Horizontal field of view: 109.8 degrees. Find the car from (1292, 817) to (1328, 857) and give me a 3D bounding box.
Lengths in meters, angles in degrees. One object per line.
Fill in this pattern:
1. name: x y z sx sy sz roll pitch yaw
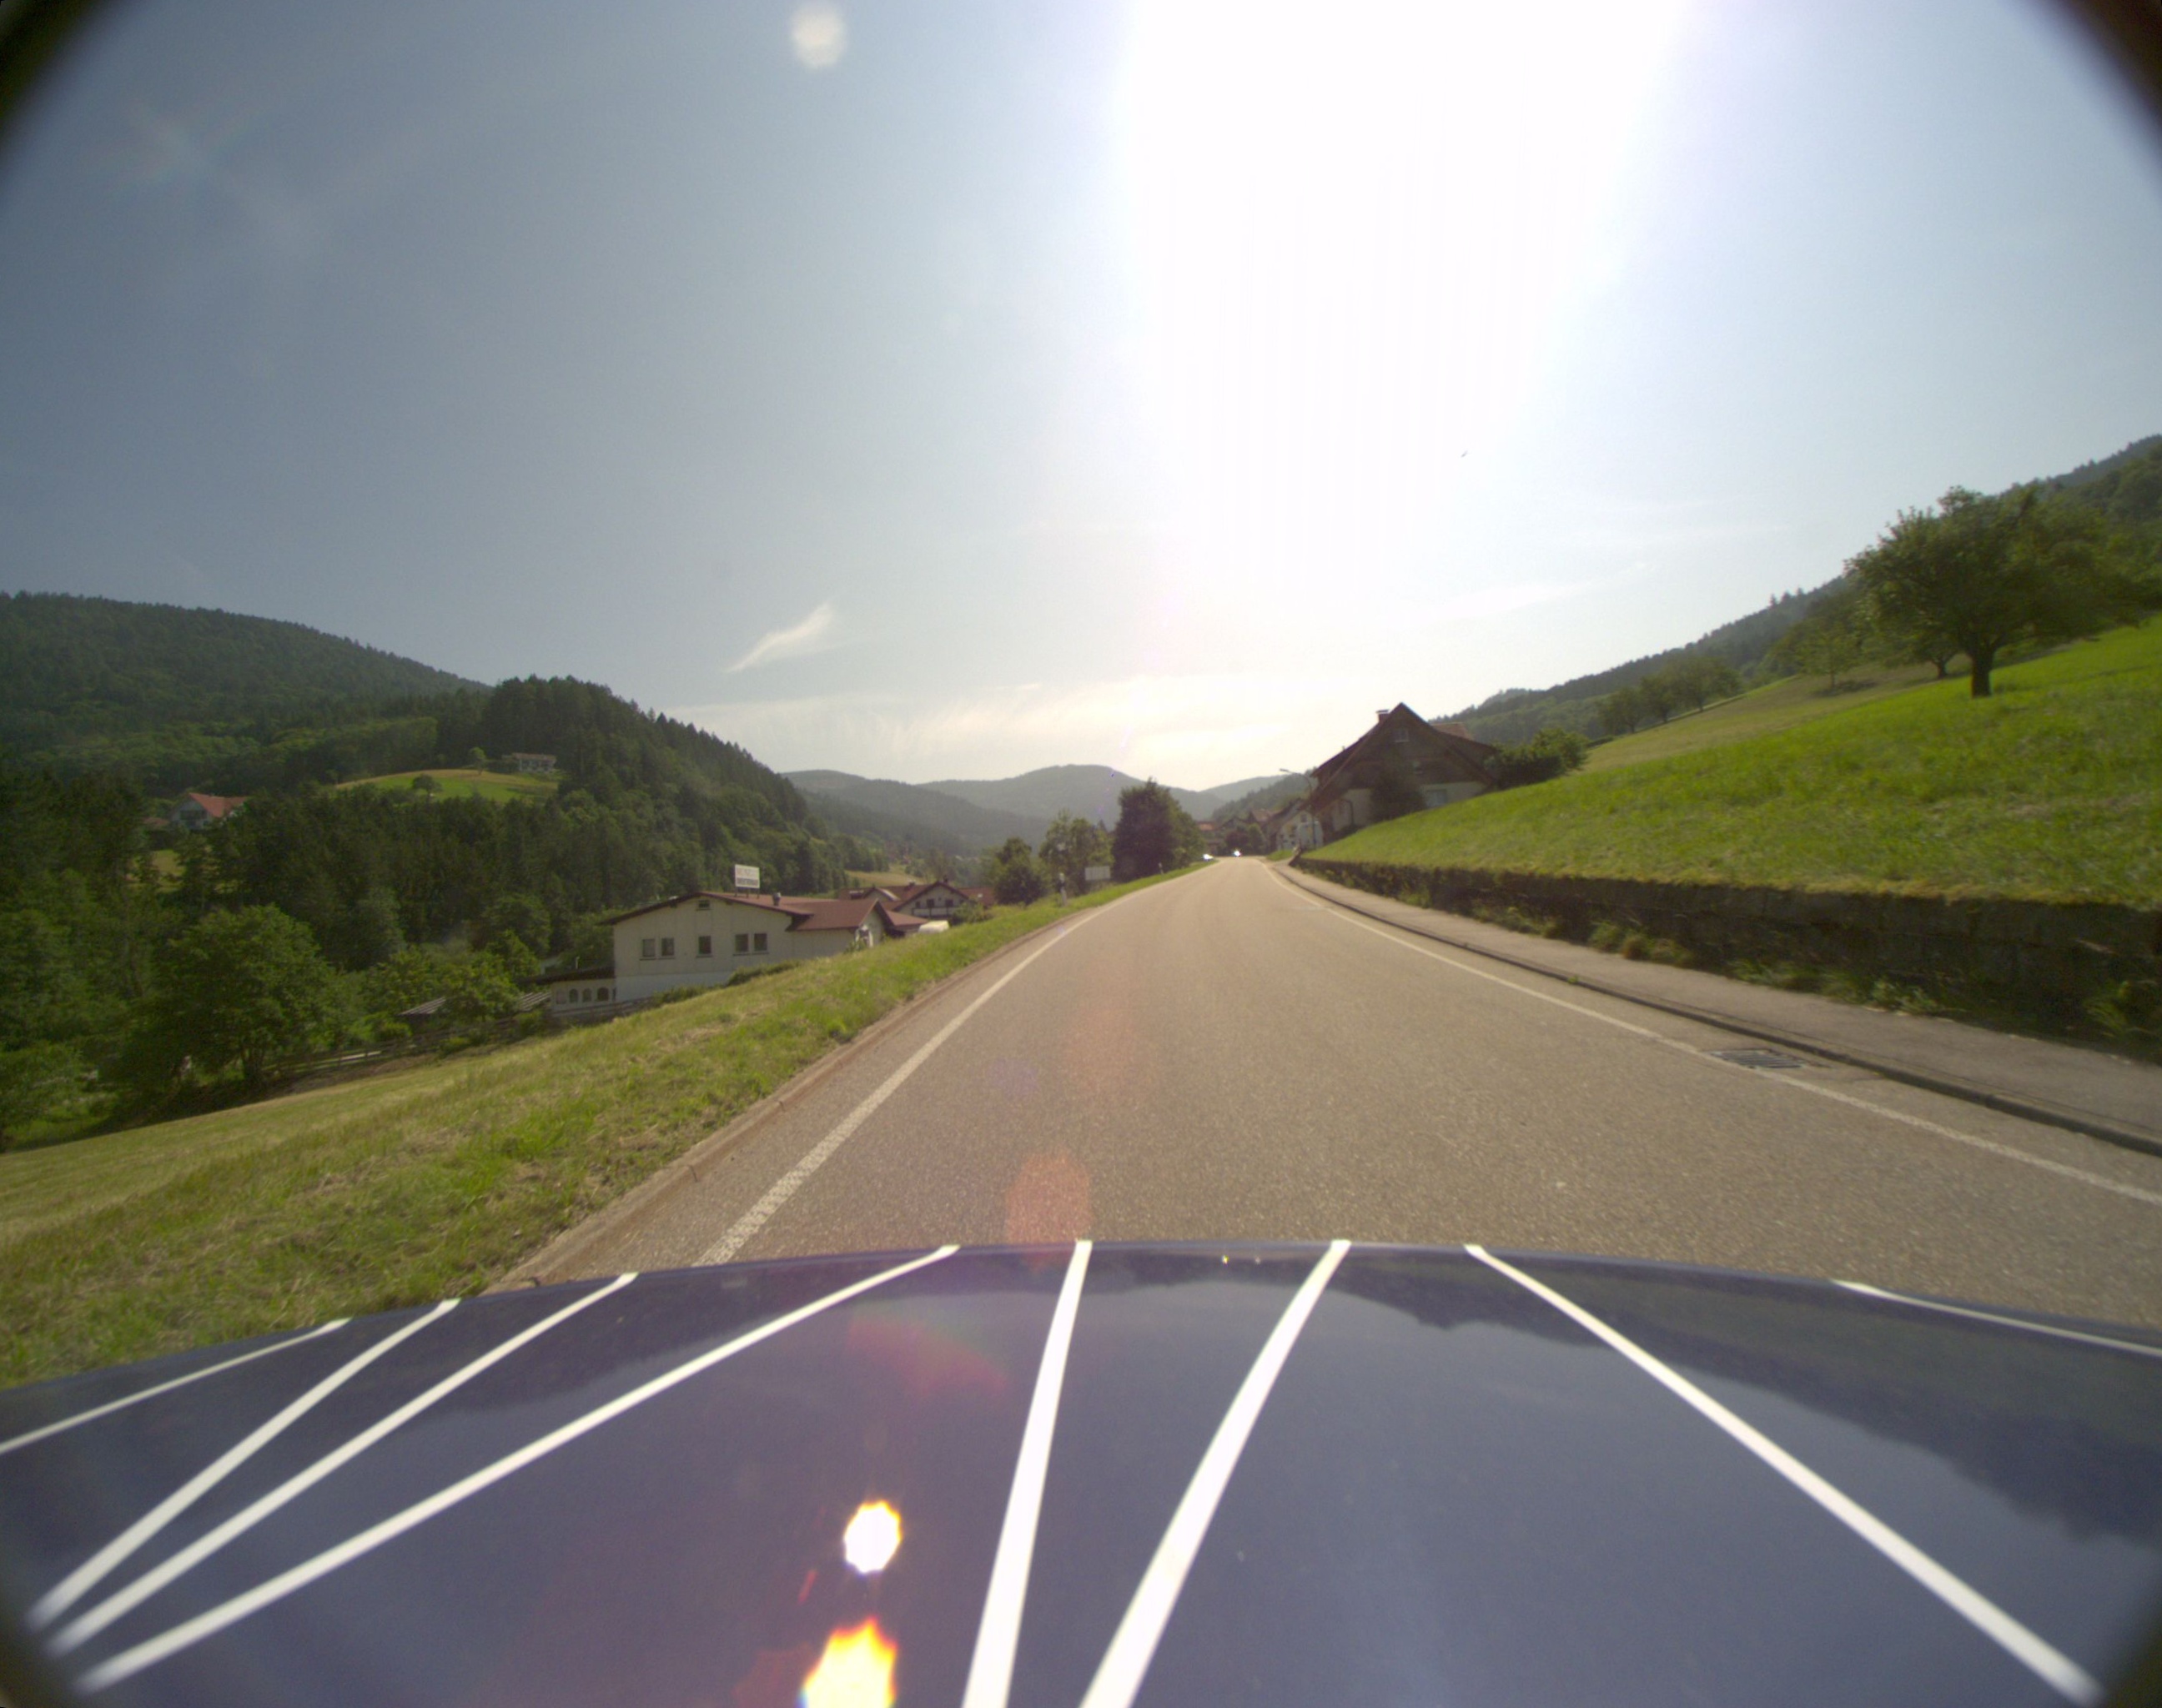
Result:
1. car: 19.143 -1.309 63.851 2.071 2.671 7.184 -6 -4 12
